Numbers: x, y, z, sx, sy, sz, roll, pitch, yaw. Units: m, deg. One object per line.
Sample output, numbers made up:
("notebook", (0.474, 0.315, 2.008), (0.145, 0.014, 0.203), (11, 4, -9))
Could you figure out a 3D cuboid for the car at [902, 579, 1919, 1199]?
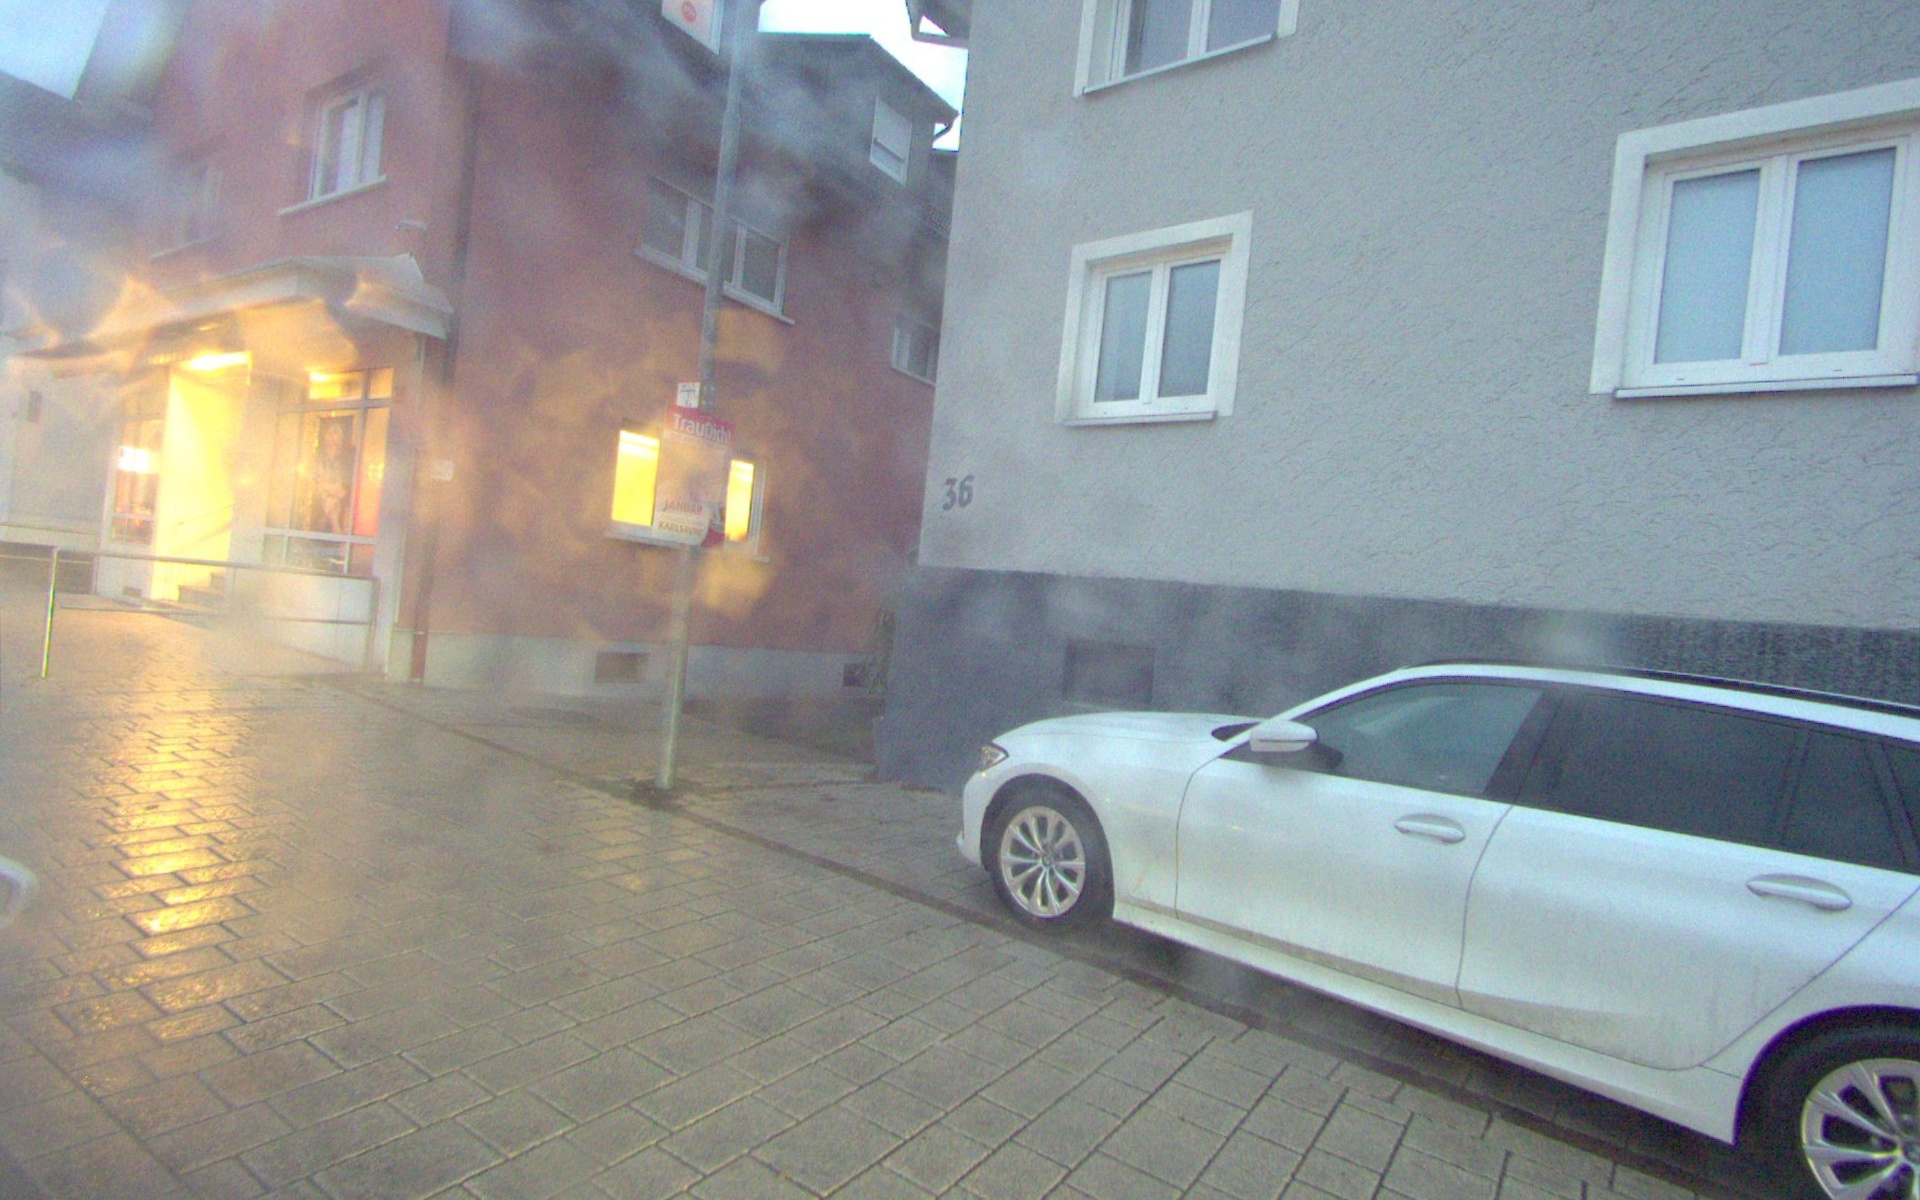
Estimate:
("car", (2.073, 0.913, 4.065), (4.478, 1.485, 1.880), (7, 1, 41))
